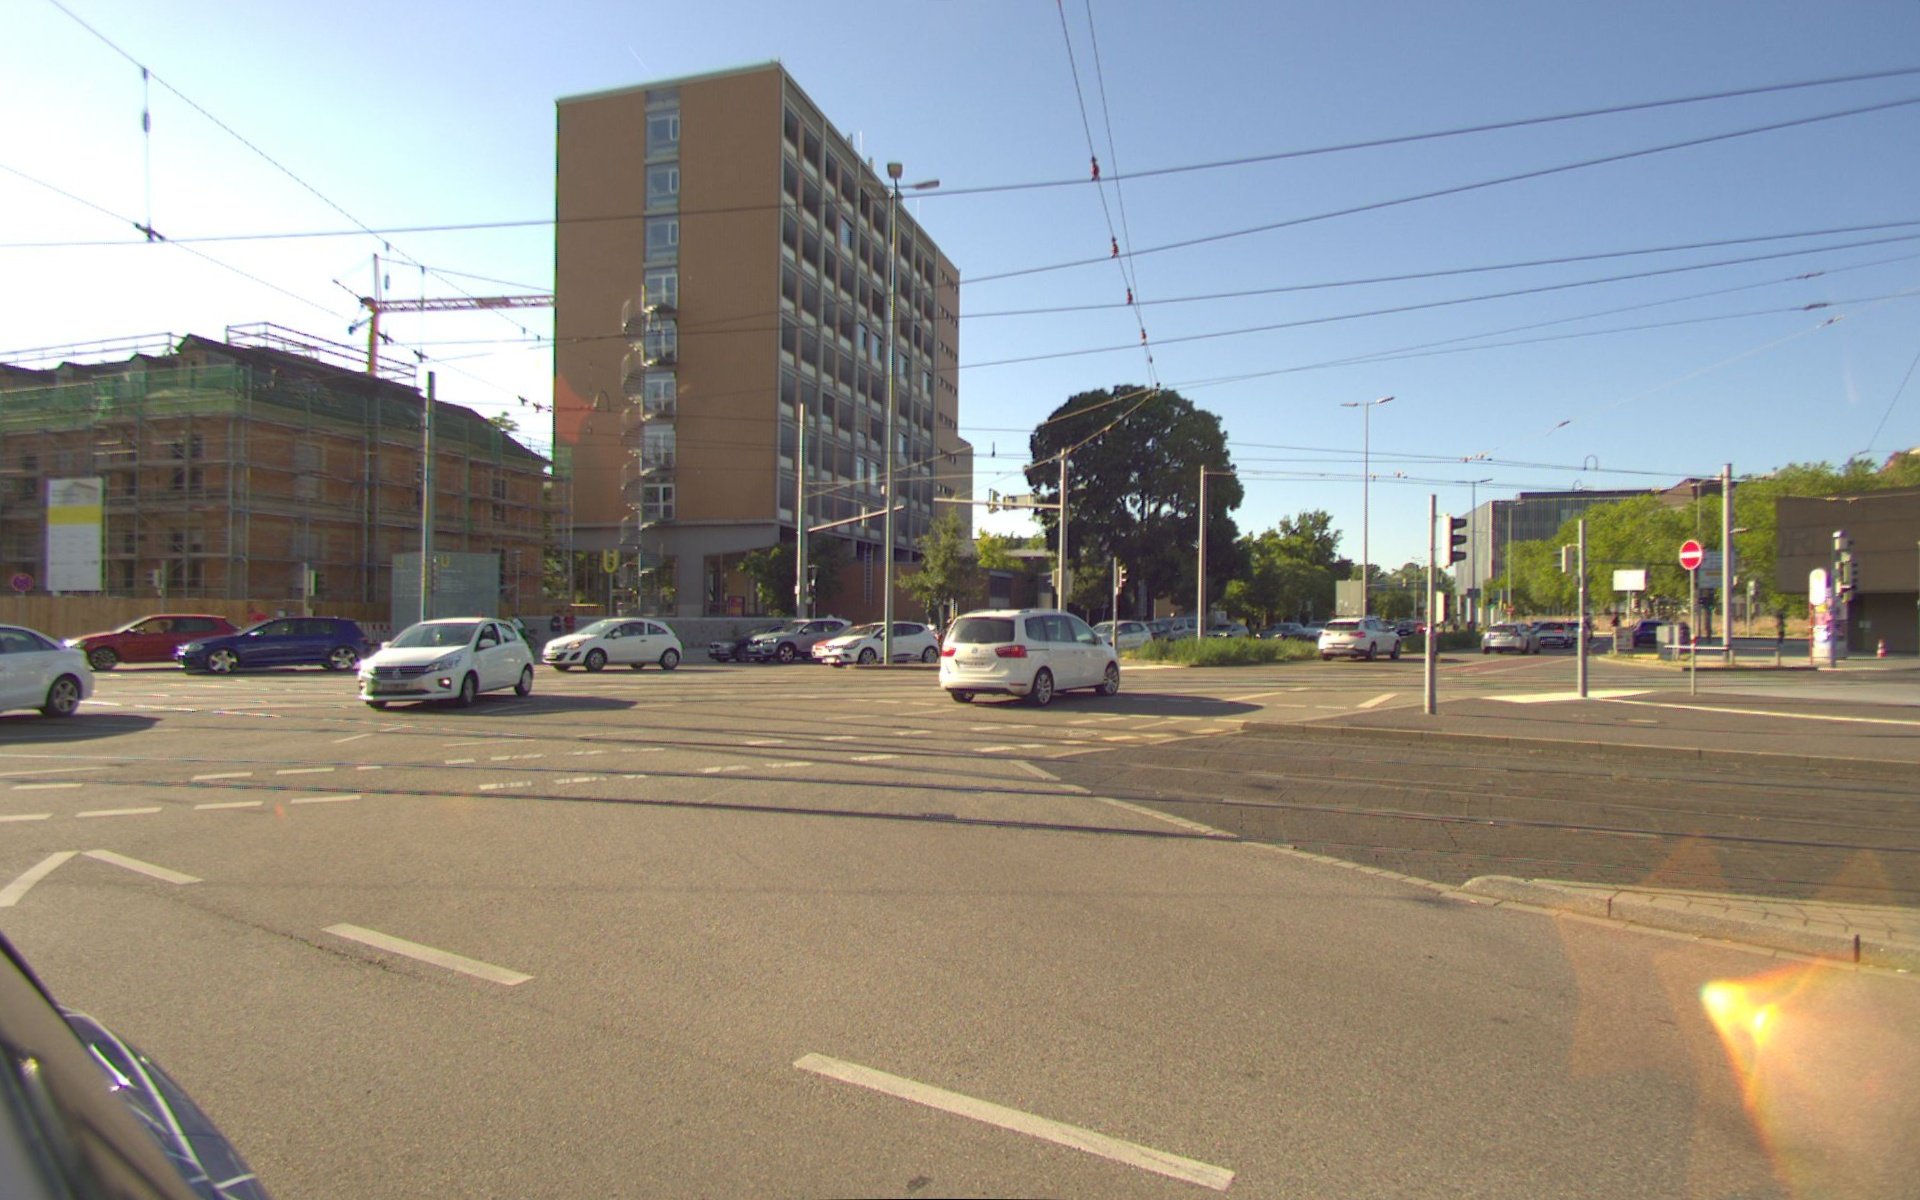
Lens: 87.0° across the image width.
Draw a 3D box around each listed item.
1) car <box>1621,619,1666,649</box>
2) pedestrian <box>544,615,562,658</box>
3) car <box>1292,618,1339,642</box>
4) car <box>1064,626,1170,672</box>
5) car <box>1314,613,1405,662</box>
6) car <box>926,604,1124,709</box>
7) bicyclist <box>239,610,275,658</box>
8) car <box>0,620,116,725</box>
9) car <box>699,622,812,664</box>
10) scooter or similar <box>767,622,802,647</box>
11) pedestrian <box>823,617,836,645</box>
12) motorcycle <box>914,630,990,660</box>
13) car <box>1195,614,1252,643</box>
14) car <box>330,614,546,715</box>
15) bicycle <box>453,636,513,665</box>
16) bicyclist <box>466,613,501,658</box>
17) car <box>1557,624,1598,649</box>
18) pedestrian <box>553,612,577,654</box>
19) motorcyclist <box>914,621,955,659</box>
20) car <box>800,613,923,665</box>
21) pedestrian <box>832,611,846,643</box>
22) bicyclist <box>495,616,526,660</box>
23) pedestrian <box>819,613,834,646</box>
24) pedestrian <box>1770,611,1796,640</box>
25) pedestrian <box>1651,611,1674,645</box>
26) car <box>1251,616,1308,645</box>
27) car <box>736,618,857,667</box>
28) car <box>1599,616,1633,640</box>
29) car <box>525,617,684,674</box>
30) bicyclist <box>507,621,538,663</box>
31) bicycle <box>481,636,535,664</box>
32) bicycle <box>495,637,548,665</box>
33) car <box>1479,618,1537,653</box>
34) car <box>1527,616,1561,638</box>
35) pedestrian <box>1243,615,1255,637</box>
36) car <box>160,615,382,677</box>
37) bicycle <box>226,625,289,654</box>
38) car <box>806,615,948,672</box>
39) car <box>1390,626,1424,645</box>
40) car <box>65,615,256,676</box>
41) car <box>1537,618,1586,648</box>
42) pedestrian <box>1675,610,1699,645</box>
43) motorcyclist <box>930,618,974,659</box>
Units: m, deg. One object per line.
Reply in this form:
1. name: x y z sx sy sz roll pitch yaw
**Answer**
1. car: 40.250 2.002 59.549 1.862 1.643 3.986 -5 -4 37
2. pedestrian: -17.106 1.533 42.499 0.611 1.752 0.667 2 -1 -18
3. car: 26.596 2.254 75.700 1.824 1.741 3.942 -1 -2 44
4. car: 6.321 1.915 40.484 4.217 1.689 2.003 1 -1 -42
5. car: 15.664 1.445 39.551 1.940 1.760 4.560 0 -1 40
6. car: 1.372 0.990 19.175 1.935 1.747 4.417 0 -1 31
7. bicyclist: -26.115 1.270 37.605 0.999 1.721 0.696 2 1 -31
8. car: -13.810 0.980 13.380 1.799 1.399 4.461 0 -1 -4
9. car: -7.918 1.637 39.327 3.958 1.475 1.758 0 0 -43
10. scooter or similar: -9.288 1.841 53.505 1.685 1.257 0.799 -2 -3 3
11. pedestrian: -7.690 1.831 59.630 0.573 1.648 0.498 -4 -4 37
12. motorcycle: -0.318 1.893 42.785 3.181 1.204 1.120 1 -4 -39
13. car: 16.577 1.786 63.597 1.824 1.741 3.942 -1 -2 44
14. car: -8.936 1.024 17.719 1.698 1.503 3.868 1 0 2
15. bicycle: -17.458 1.859 37.043 1.849 0.977 0.714 2 1 -36
16. bicyclist: -17.430 1.287 37.038 1.000 1.599 0.696 2 1 -37
17. car: 41.739 2.470 68.366 1.856 1.643 3.820 -2 -2 38
18. pedestrian: -16.816 1.410 43.063 0.622 1.752 0.723 1 -1 41
19. motorcyclist: -1.167 1.800 45.529 1.431 1.680 1.120 1 -4 -39
20. car: -3.453 1.399 35.818 2.001 1.697 3.941 -5 -5 44
21. pedestrian: -6.179 1.381 51.663 0.427 1.648 0.498 -4 -4 37
22. bicyclist: -17.362 1.460 39.094 0.999 1.599 0.696 3 1 -22
23. pedestrian: -7.092 1.582 53.720 0.614 1.724 0.487 0 -4 -25
24. pedestrian: 45.313 1.423 55.744 0.800 1.580 1.169 -3 -4 27
25. pedestrian: 37.974 1.539 54.706 0.800 1.782 0.954 -3 -4 27
26. car: 19.774 1.863 62.552 1.824 1.741 3.942 -1 -2 44
27. car: -5.974 1.524 37.148 3.936 1.618 2.004 0 0 -39
28. car: 48.517 2.110 74.815 1.855 1.643 3.823 -5 -4 36
29. car: -9.898 1.235 28.385 1.782 1.475 3.865 0 -1 38
30. bicyclist: -17.479 1.689 40.410 0.999 1.599 0.696 3 1 -17
31. bicycle: -17.449 1.916 39.078 1.847 0.977 0.714 3 1 -22
32. bicycle: -17.486 2.032 40.417 1.848 0.977 0.714 3 1 -17
33. car: 25.315 1.612 46.648 1.843 1.434 4.379 2 0 35
34. car: 48.794 2.261 84.550 1.856 1.643 3.821 -5 -4 37
35. pedestrian: 22.151 1.989 77.579 0.566 1.674 0.584 -5 -5 44
36. car: -17.993 1.186 26.579 4.583 1.504 1.819 2 -3 -43
37. bicycle: -26.092 1.471 37.629 1.848 0.977 0.714 2 1 -31
38. car: -2.624 1.347 32.480 4.218 1.689 2.002 1 -1 -43
39. car: 40.324 3.215 91.278 1.994 1.697 4.653 -4 -4 33
40. car: -21.726 1.202 27.579 3.958 1.475 1.758 0 -2 -43
41. car: 34.559 1.877 58.116 1.721 1.643 3.817 -3 -3 41
42. pedestrian: 38.849 1.482 54.060 0.800 1.782 0.964 -3 -4 27
43. motorcyclist: -0.331 1.620 42.780 1.431 1.680 1.120 1 -4 -39
